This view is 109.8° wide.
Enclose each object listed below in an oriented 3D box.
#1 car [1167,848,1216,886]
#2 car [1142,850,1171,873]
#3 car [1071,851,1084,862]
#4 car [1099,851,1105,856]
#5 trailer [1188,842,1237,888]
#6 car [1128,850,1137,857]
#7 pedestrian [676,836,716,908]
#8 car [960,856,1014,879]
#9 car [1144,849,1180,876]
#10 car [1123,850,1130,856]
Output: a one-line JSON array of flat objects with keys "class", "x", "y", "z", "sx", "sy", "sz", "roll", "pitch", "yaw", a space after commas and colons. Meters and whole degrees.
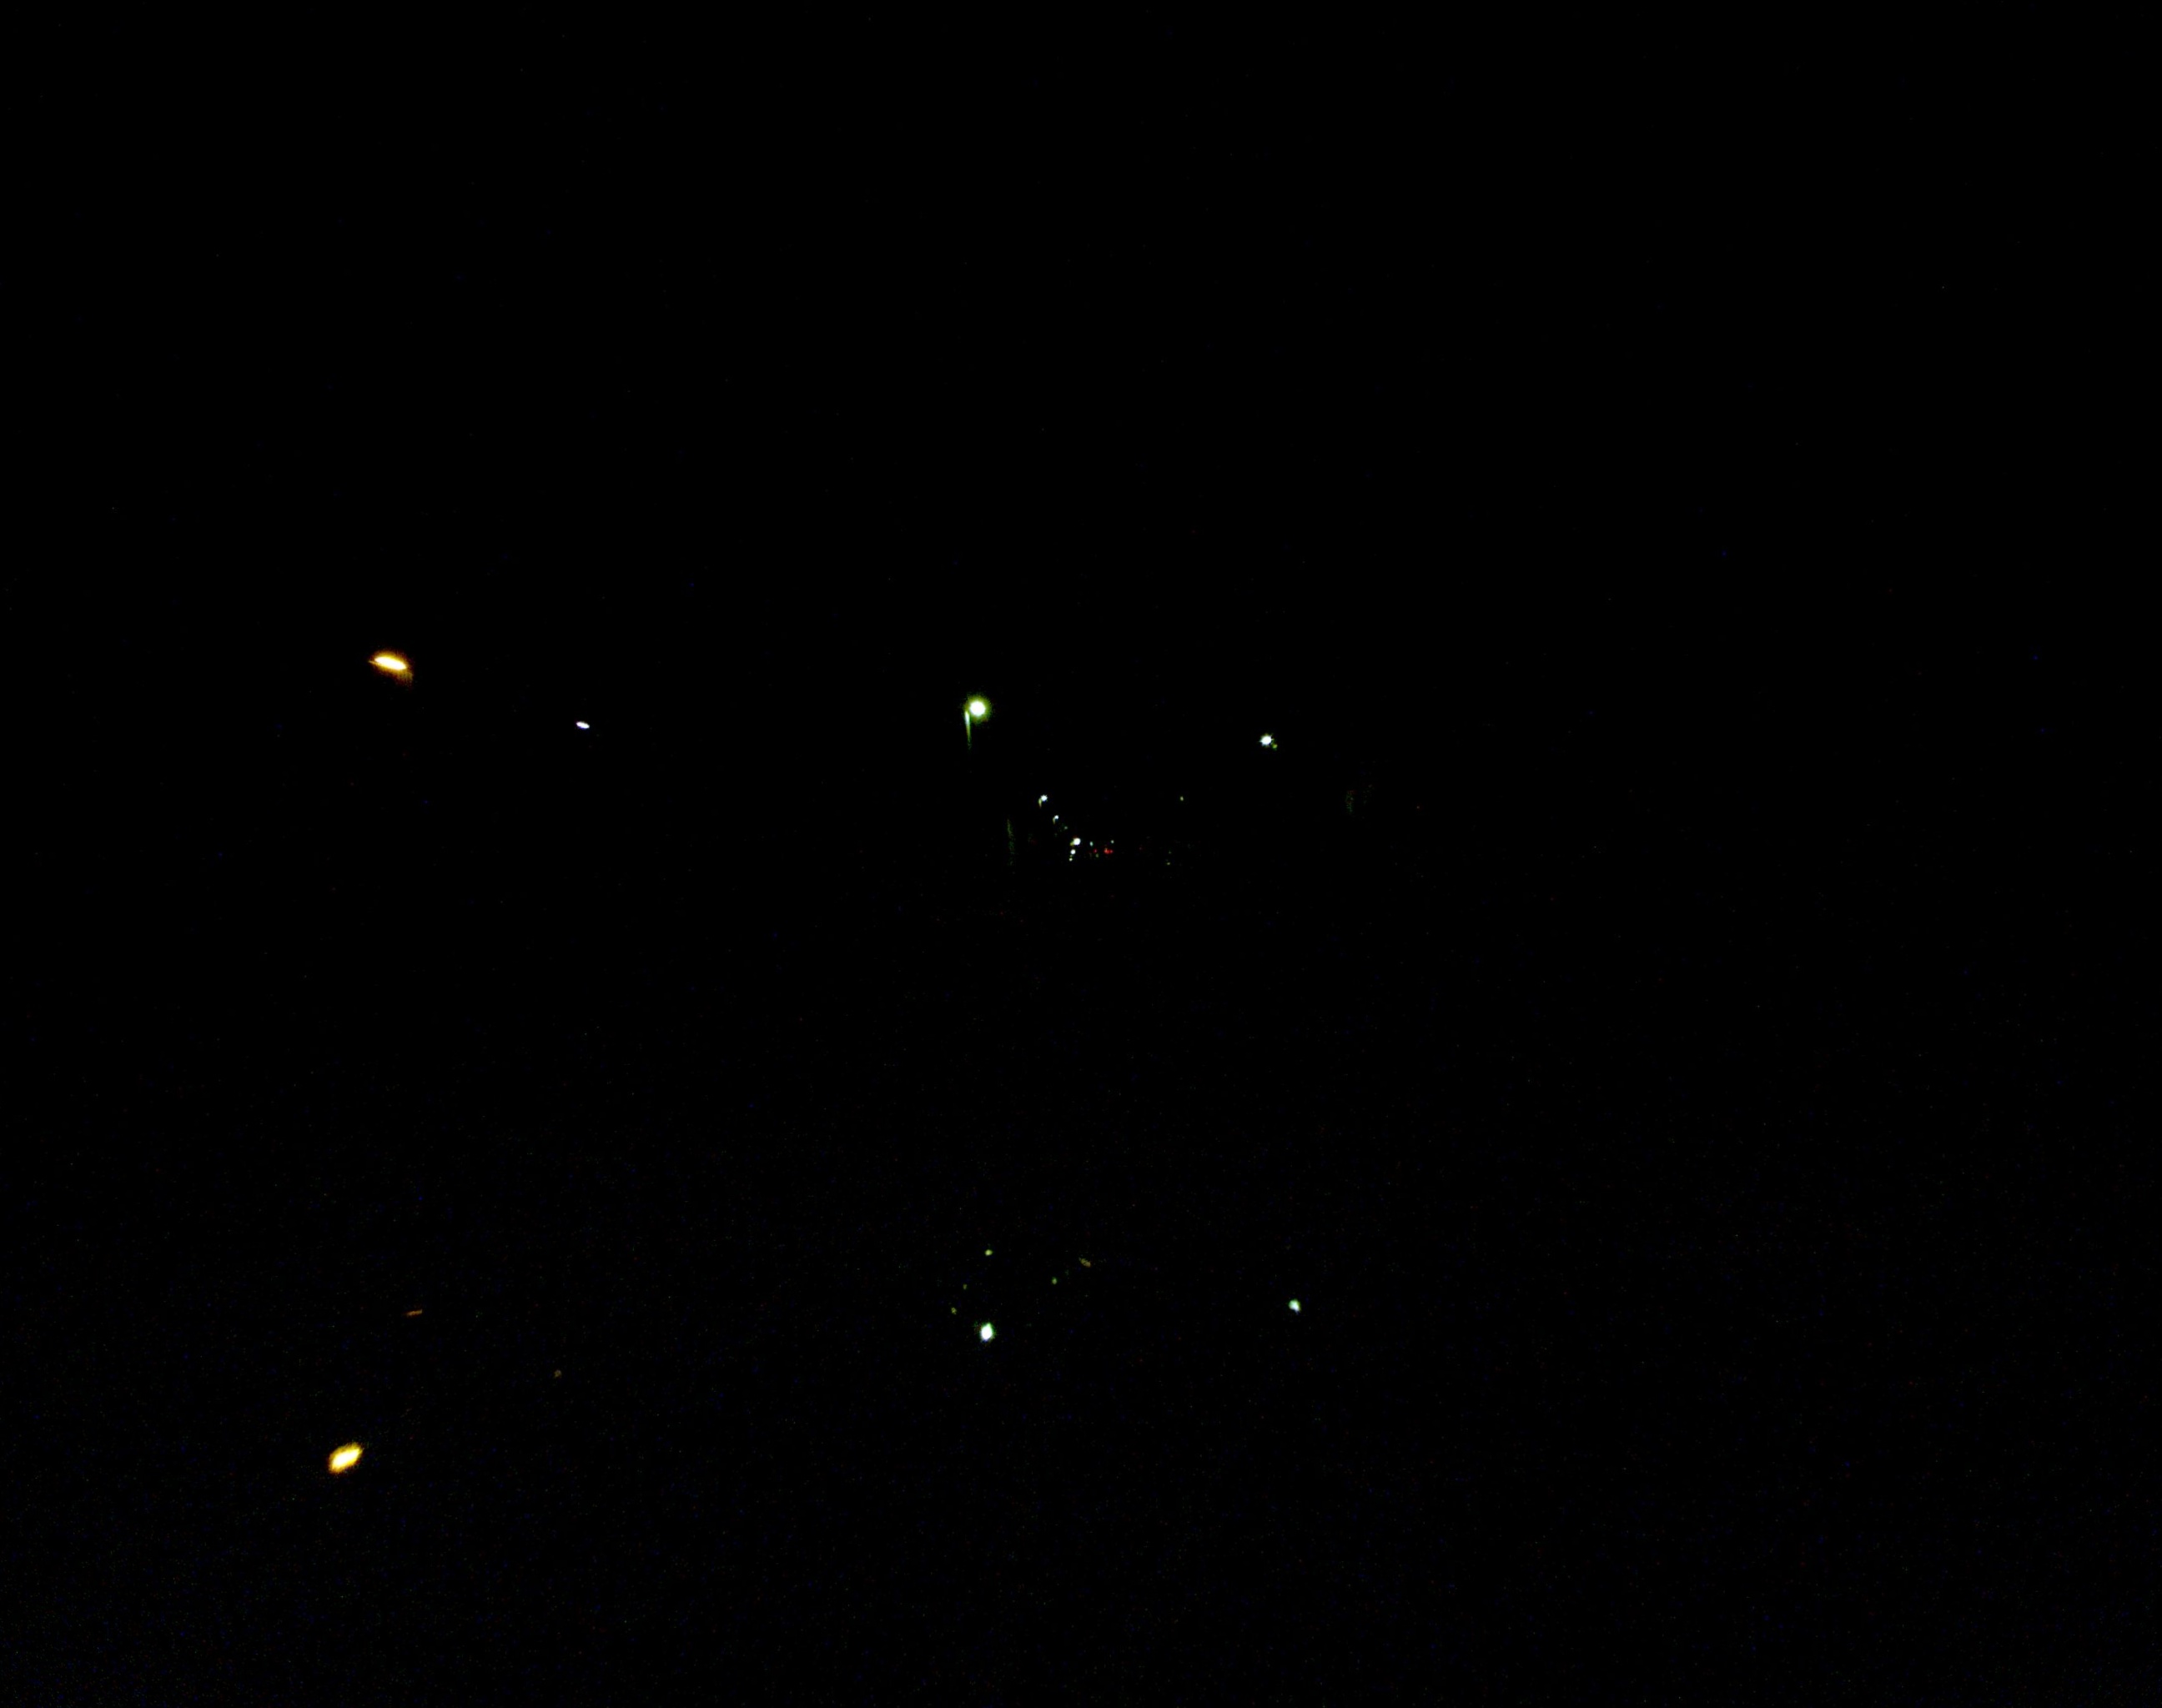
[{"class": "car", "x": 4.980, "y": 0.560, "z": 34.594, "sx": 1.675, "sy": 1.513, "sz": 2.978, "roll": -5, "pitch": 0, "yaw": -1}, {"class": "car", "x": 5.482, "y": 0.536, "z": 55.280, "sx": 1.692, "sy": 1.501, "sz": 4.278, "roll": -3, "pitch": 0, "yaw": 1}, {"class": "car", "x": -0.555, "y": 0.331, "z": 116.488, "sx": 1.747, "sy": 1.560, "sz": 4.209, "roll": -2, "pitch": 0, "yaw": 2}, {"class": "car", "x": 5.999, "y": -0.134, "z": 219.059, "sx": 1.606, "sy": 1.474, "sz": 3.699, "roll": -2, "pitch": 0, "yaw": 1}, {"class": "trailer", "x": 5.365, "y": 0.419, "z": 31.343, "sx": 1.451, "sy": 1.678, "sz": 3.426, "roll": -5, "pitch": 0, "yaw": 3}, {"class": "car", "x": 11.568, "y": -0.230, "z": 170.271, "sx": 1.900, "sy": 1.411, "sz": 4.931, "roll": -4, "pitch": 0, "yaw": 4}, {"class": "pedestrian", "x": -10.473, "y": 0.491, "z": 20.714, "sx": 0.647, "sy": 1.926, "sz": 0.773, "roll": -1, "pitch": 1, "yaw": 1}, {"class": "car", "x": -7.054, "y": 1.009, "z": 57.293, "sx": 3.720, "sy": 1.464, "sz": 1.730, "roll": -3, "pitch": 1, "yaw": 3}, {"class": "car", "x": 5.121, "y": 0.508, "z": 48.377, "sx": 1.771, "sy": 1.510, "sz": 4.278, "roll": -4, "pitch": 0, "yaw": 1}, {"class": "car", "x": 13.412, "y": -0.251, "z": 224.211, "sx": 1.814, "sy": 1.637, "sz": 3.804, "roll": -4, "pitch": 0, "yaw": 3}]
